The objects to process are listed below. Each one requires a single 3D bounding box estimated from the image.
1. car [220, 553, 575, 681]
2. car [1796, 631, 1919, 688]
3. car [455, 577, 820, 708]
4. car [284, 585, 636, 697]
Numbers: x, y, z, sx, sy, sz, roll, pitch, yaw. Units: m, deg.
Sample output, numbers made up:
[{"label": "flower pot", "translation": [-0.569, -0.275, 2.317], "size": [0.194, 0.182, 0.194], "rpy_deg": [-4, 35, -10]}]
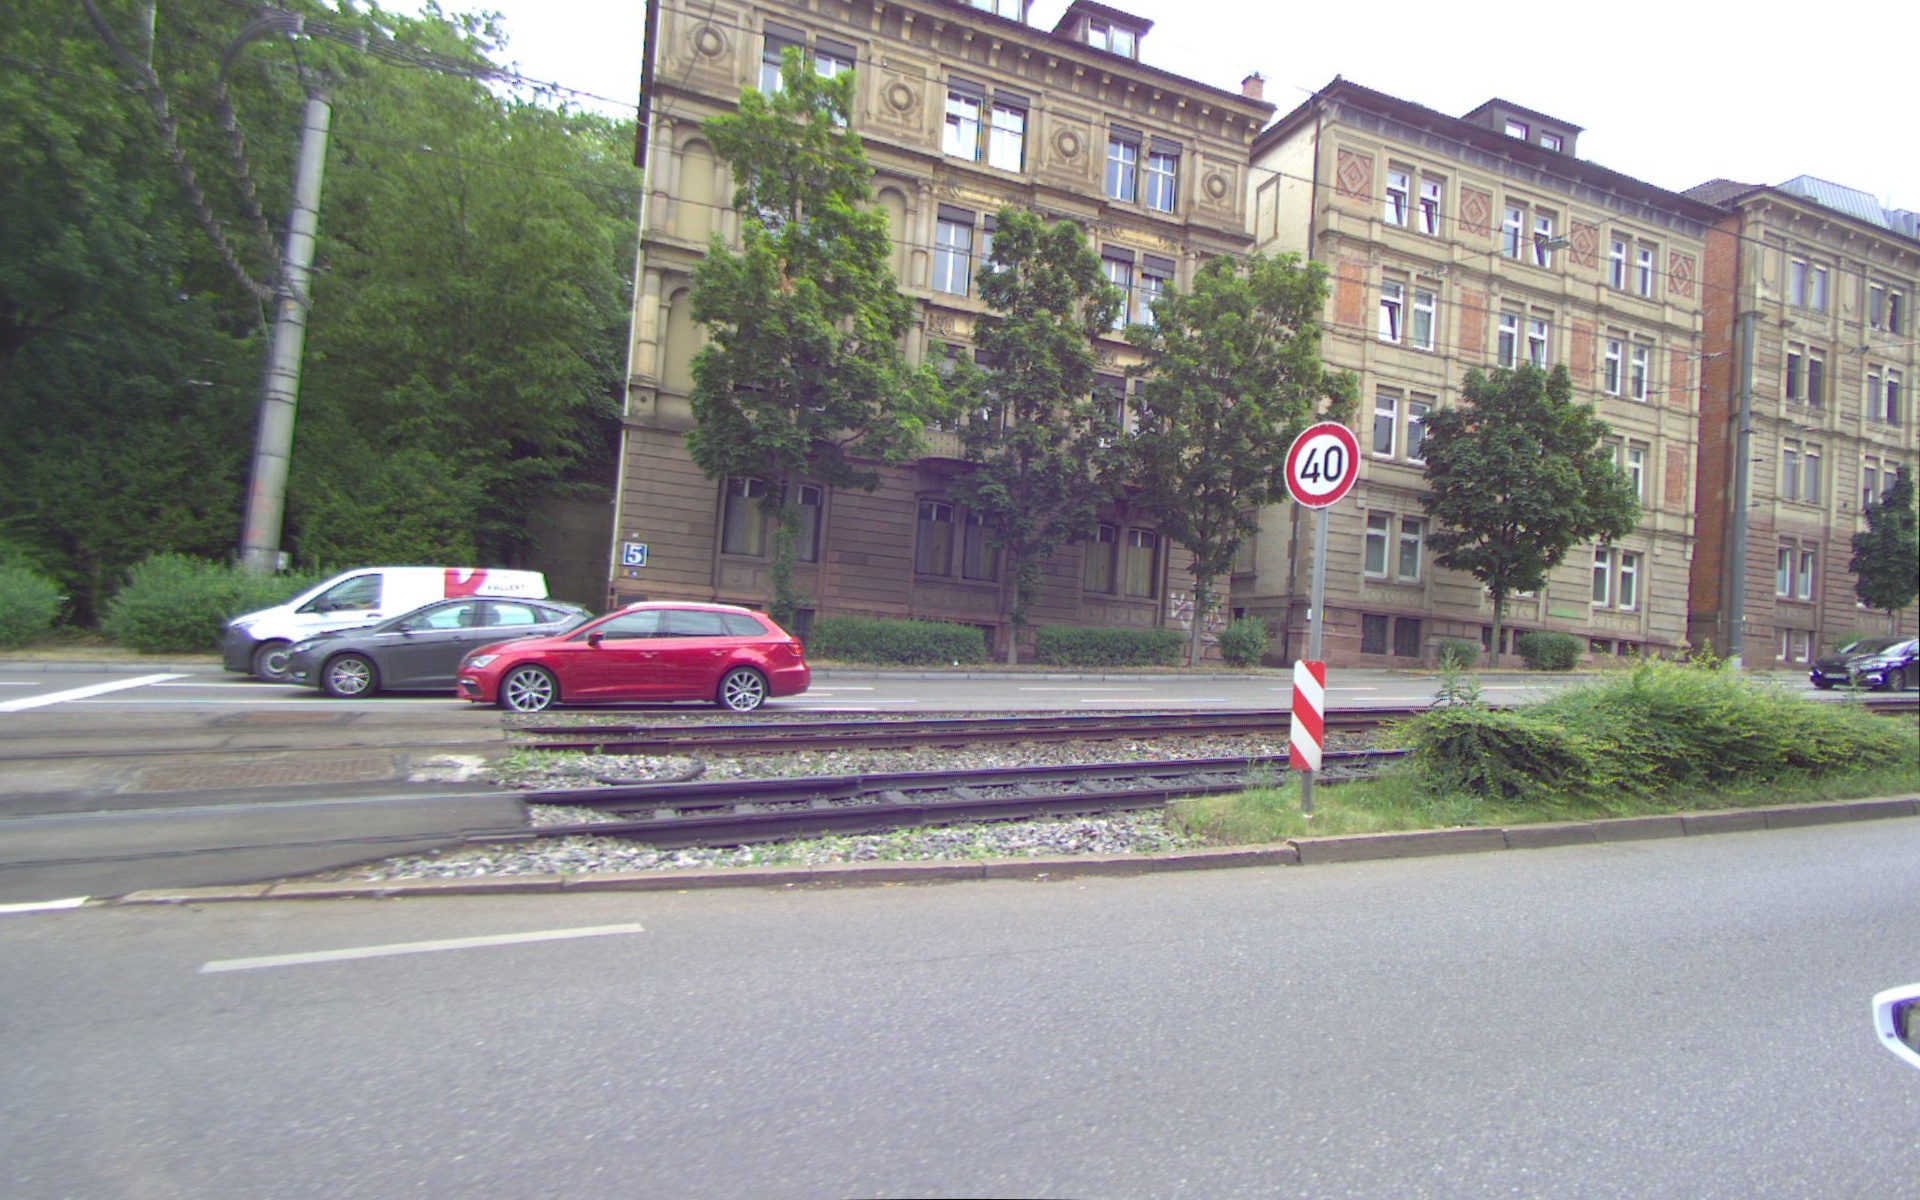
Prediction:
[{"label": "car", "translation": [-9.258, 0.336, 17.066], "size": [4.924, 1.874, 1.988], "rpy_deg": [3, -1, -24]}, {"label": "car", "translation": [25.627, 1.668, 27.698], "size": [4.873, 1.469, 1.817], "rpy_deg": [2, -4, -21]}, {"label": "car", "translation": [-4.281, 0.612, 13.573], "size": [4.344, 1.539, 1.989], "rpy_deg": [3, -2, -24]}, {"label": "car", "translation": [-7.127, 0.620, 14.779], "size": [4.343, 1.446, 1.739], "rpy_deg": [3, -1, -23]}]
